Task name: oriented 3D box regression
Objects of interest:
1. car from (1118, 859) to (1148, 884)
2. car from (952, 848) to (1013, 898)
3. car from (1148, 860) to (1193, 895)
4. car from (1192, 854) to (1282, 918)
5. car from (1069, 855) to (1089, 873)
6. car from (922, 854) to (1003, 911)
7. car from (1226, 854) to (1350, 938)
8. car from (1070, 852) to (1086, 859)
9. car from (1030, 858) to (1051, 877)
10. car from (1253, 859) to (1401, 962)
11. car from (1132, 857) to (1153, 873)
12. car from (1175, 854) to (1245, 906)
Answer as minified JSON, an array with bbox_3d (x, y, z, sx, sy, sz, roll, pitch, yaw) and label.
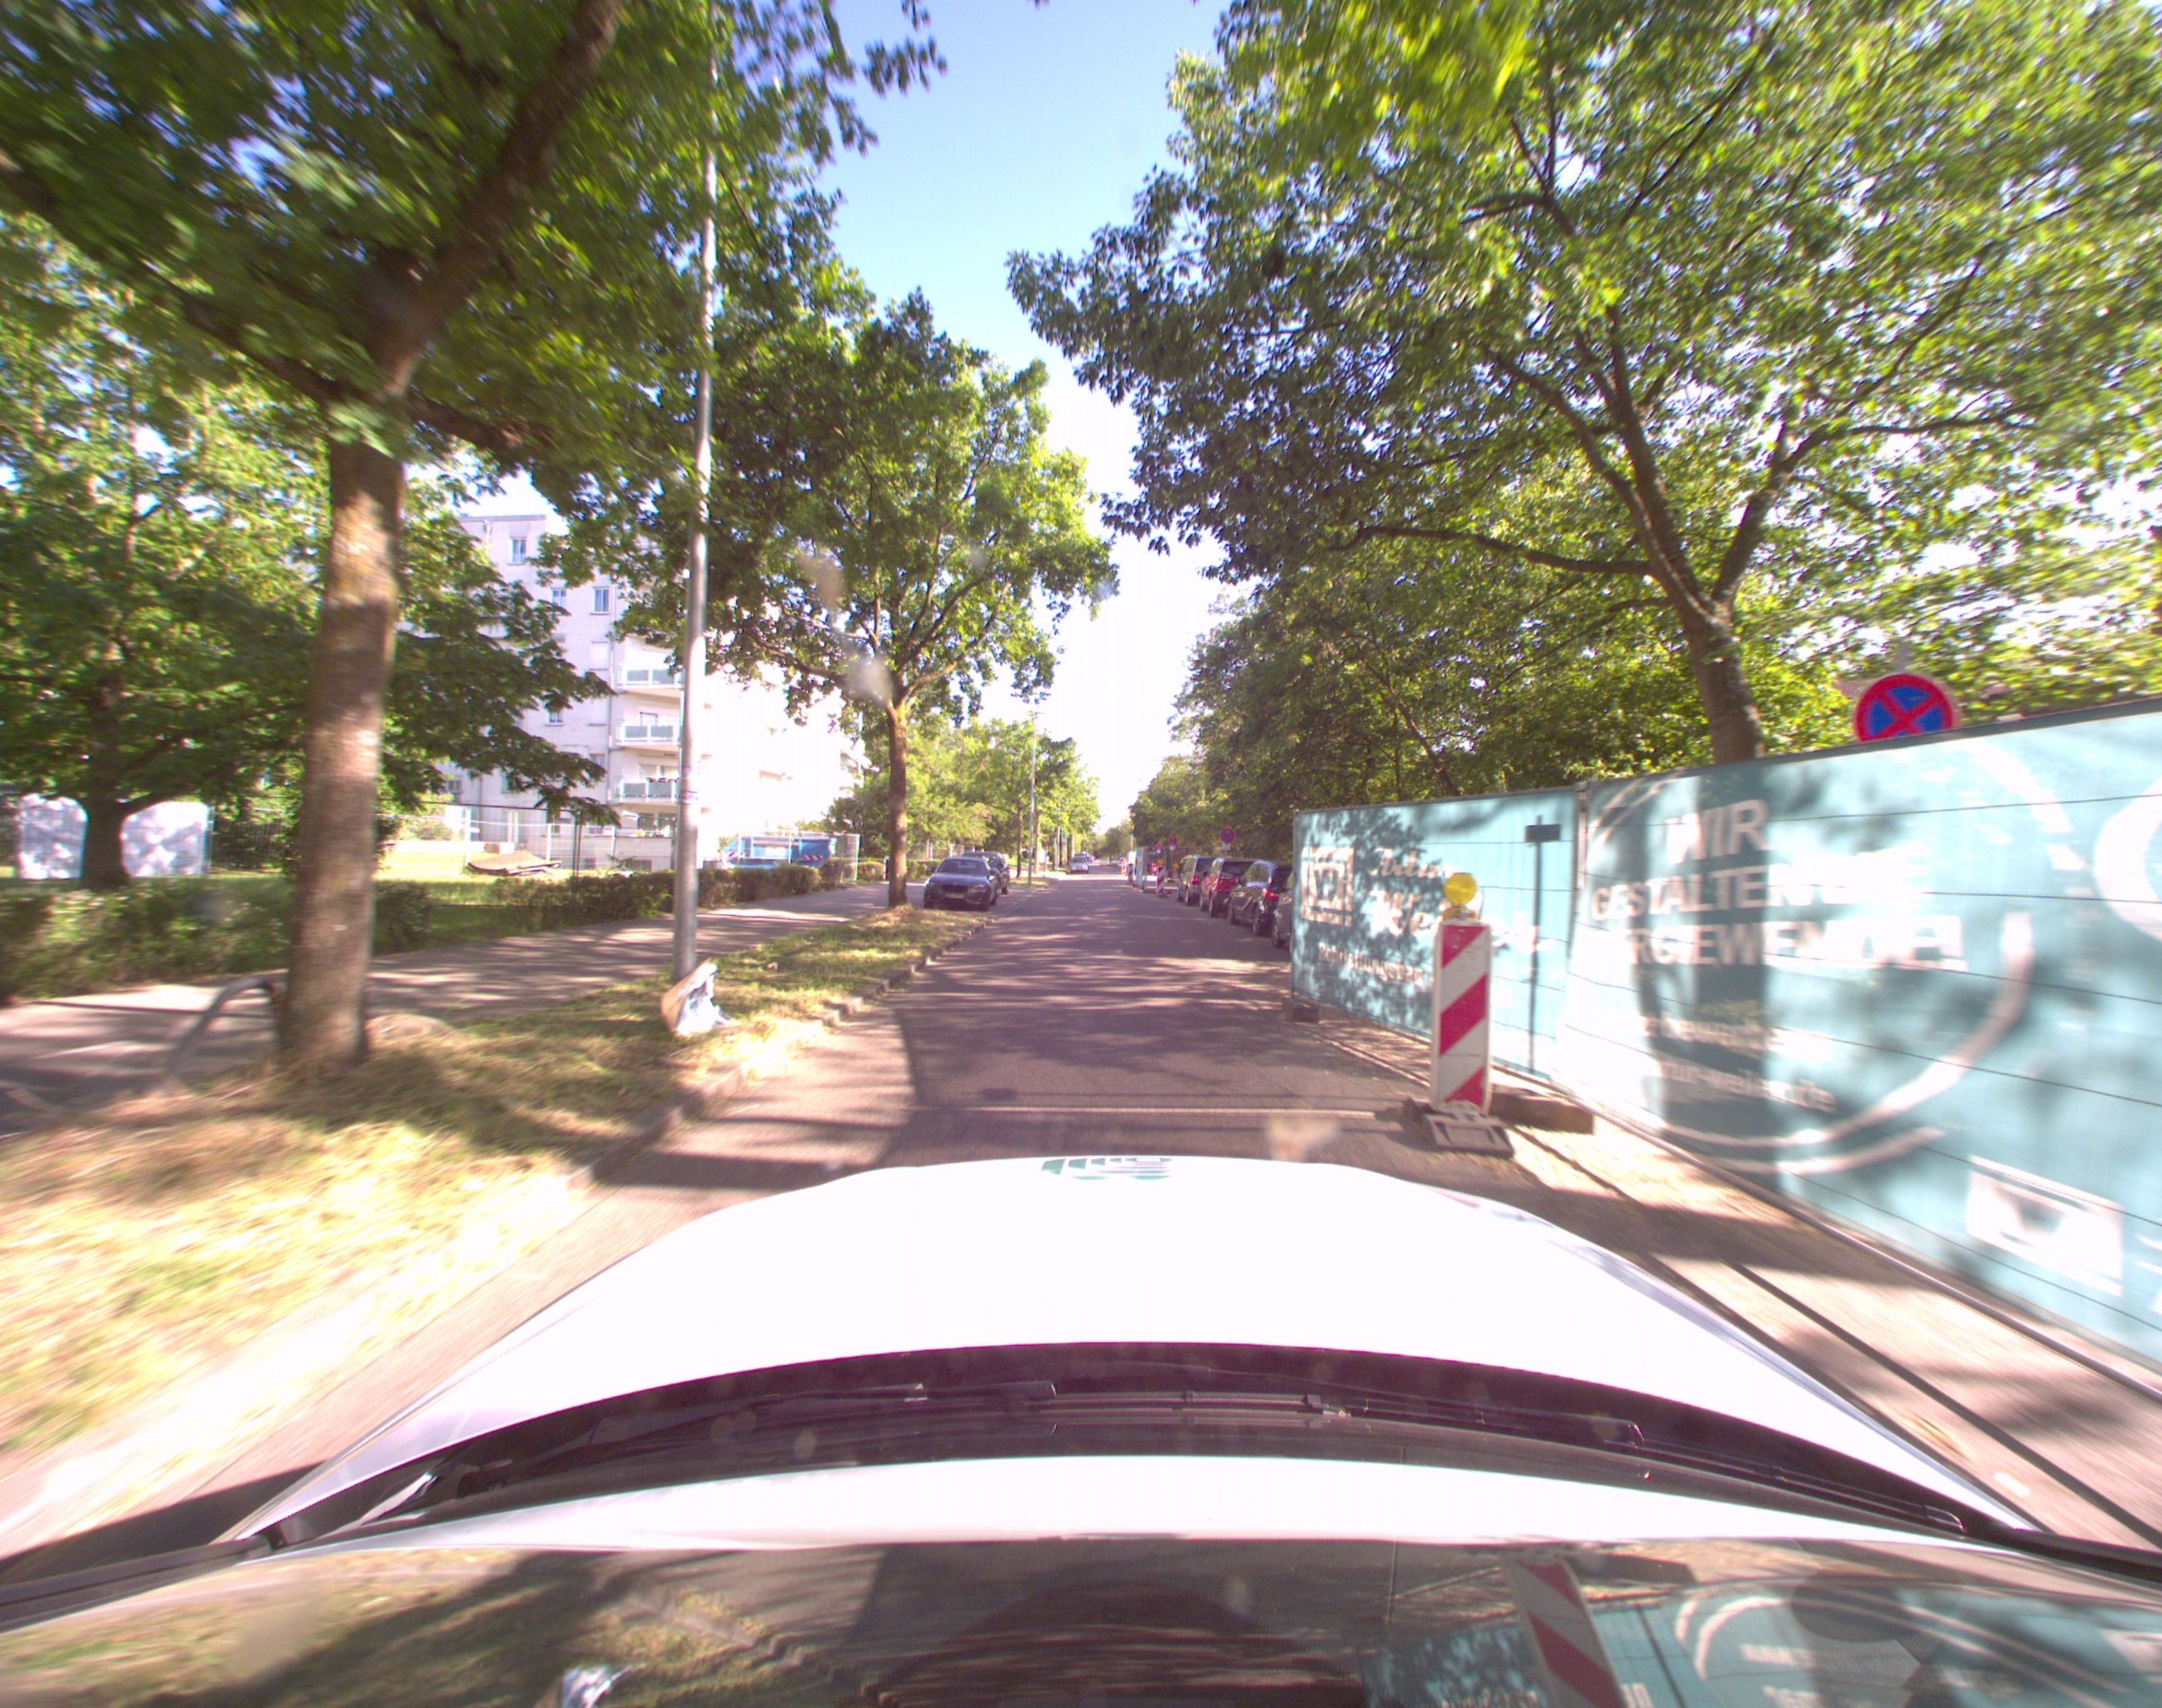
[{"bbox_3d":[2.908,0.972,46.026,1.357,1.302,3.479,2,-1,-1],"label":"car"},{"bbox_3d":[-3.605,0.671,30.290,1.682,1.675,3.503,2,0,2],"label":"car"},{"bbox_3d":[3.580,0.918,33.058,1.357,1.302,3.479,2,-1,-1],"label":"car"},{"bbox_3d":[4.199,0.814,22.471,1.748,1.595,3.656,1,0,0],"label":"car"},{"bbox_3d":[-0.193,0.990,76.950,1.706,1.585,3.996,2,-1,-3],"label":"car"},{"bbox_3d":[-3.284,0.750,23.220,1.745,1.478,3.835,1,0,0],"label":"car"},{"bbox_3d":[4.363,0.826,17.720,1.748,1.595,3.656,1,0,0],"label":"car"},{"bbox_3d":[-0.745,0.388,196.699,3.710,1.691,1.576,2,0,-10],"label":"car"},{"bbox_3d":[-2.870,0.983,58.587,1.357,1.302,3.479,2,-1,-1],"label":"car"},{"bbox_3d":[3.944,0.846,13.515,1.496,1.478,3.057,1,0,0],"label":"car"},{"bbox_3d":[5.743,1.026,75.979,1.787,1.409,4.003,1,0,3],"label":"car"},{"bbox_3d":[4.224,0.820,27.150,1.748,1.595,3.656,1,0,0],"label":"car"}]
